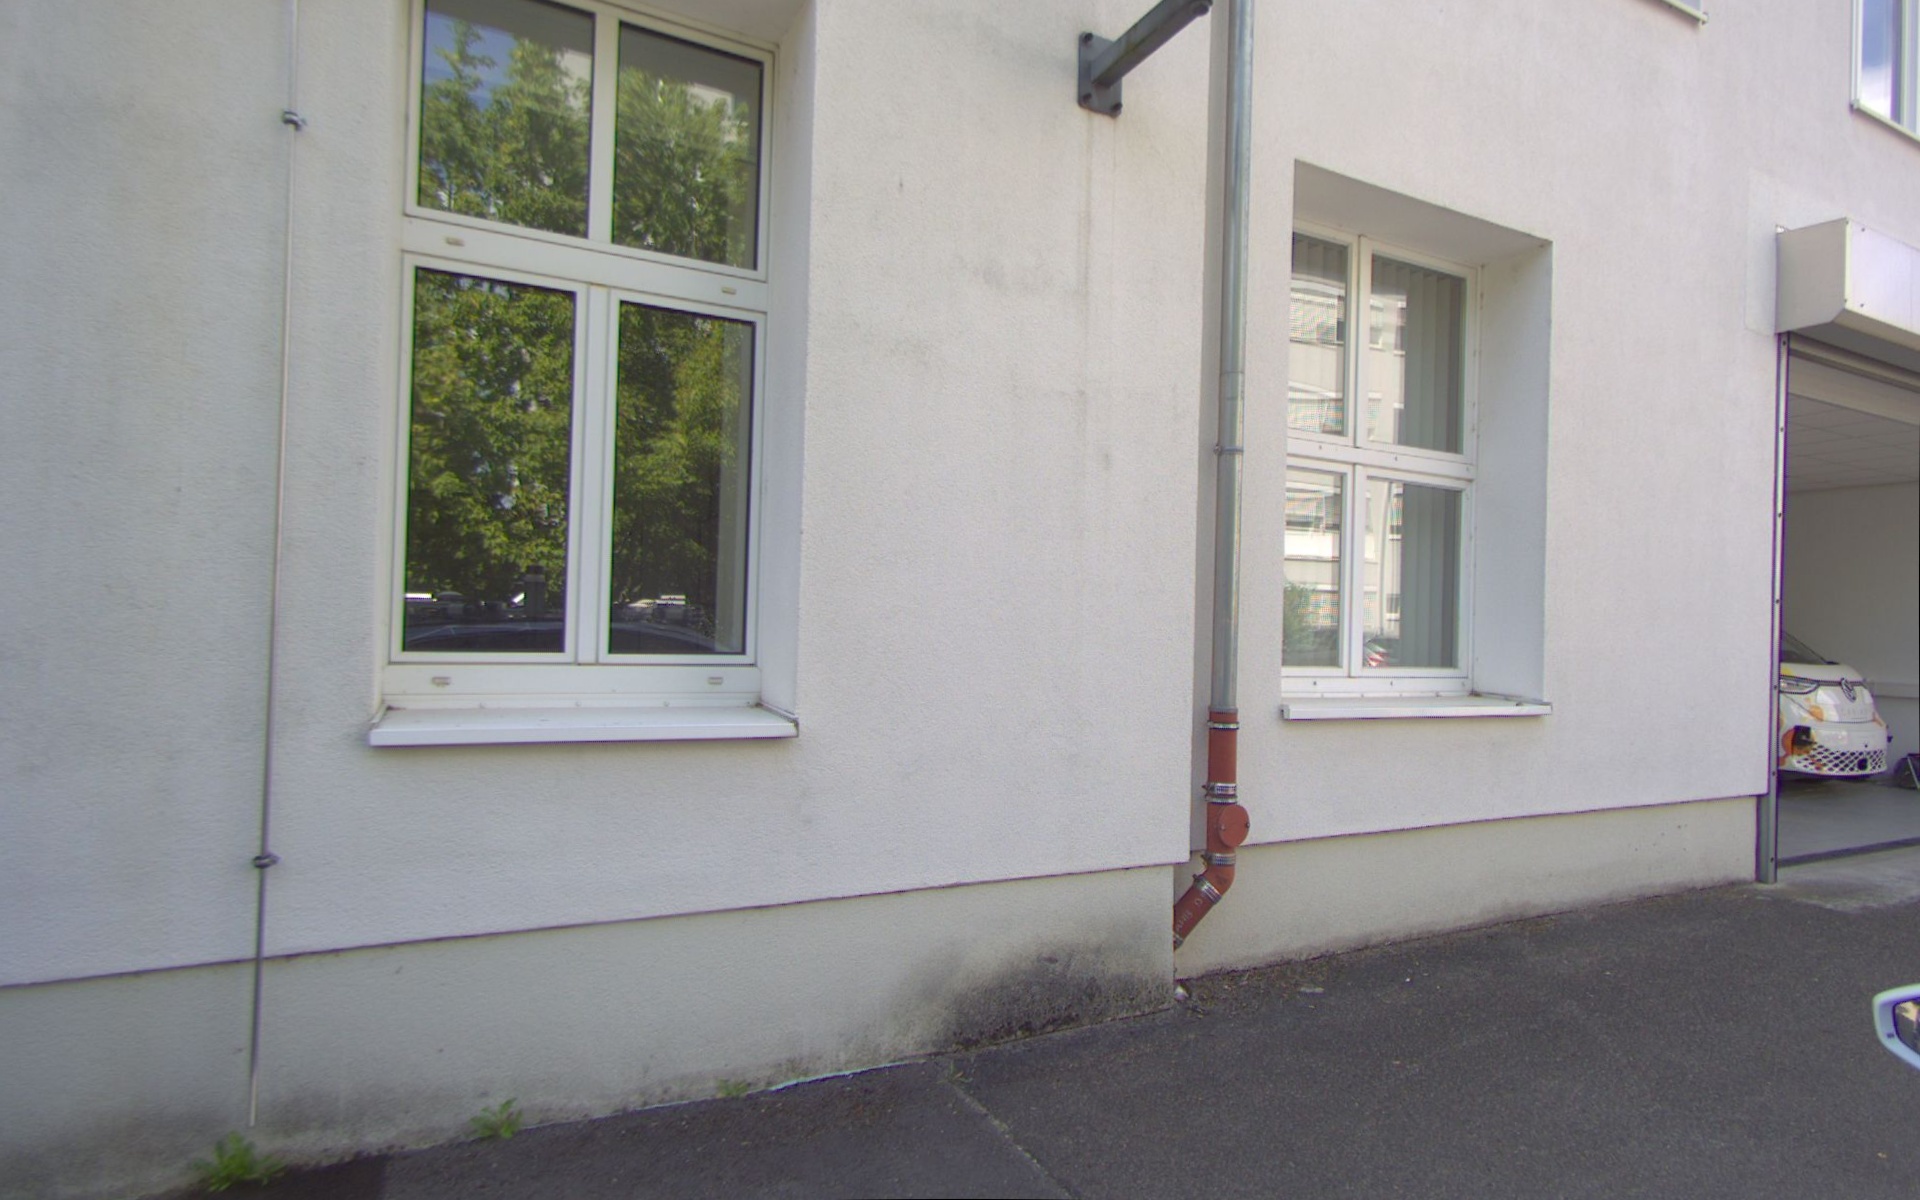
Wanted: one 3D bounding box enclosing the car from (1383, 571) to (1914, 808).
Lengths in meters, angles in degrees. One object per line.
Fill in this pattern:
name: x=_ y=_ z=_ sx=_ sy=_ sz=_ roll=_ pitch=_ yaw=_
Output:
car: x=7.221 y=0.784 z=11.141 sx=1.954 sy=2.052 sz=4.465 roll=2 pitch=0 yaw=-25
